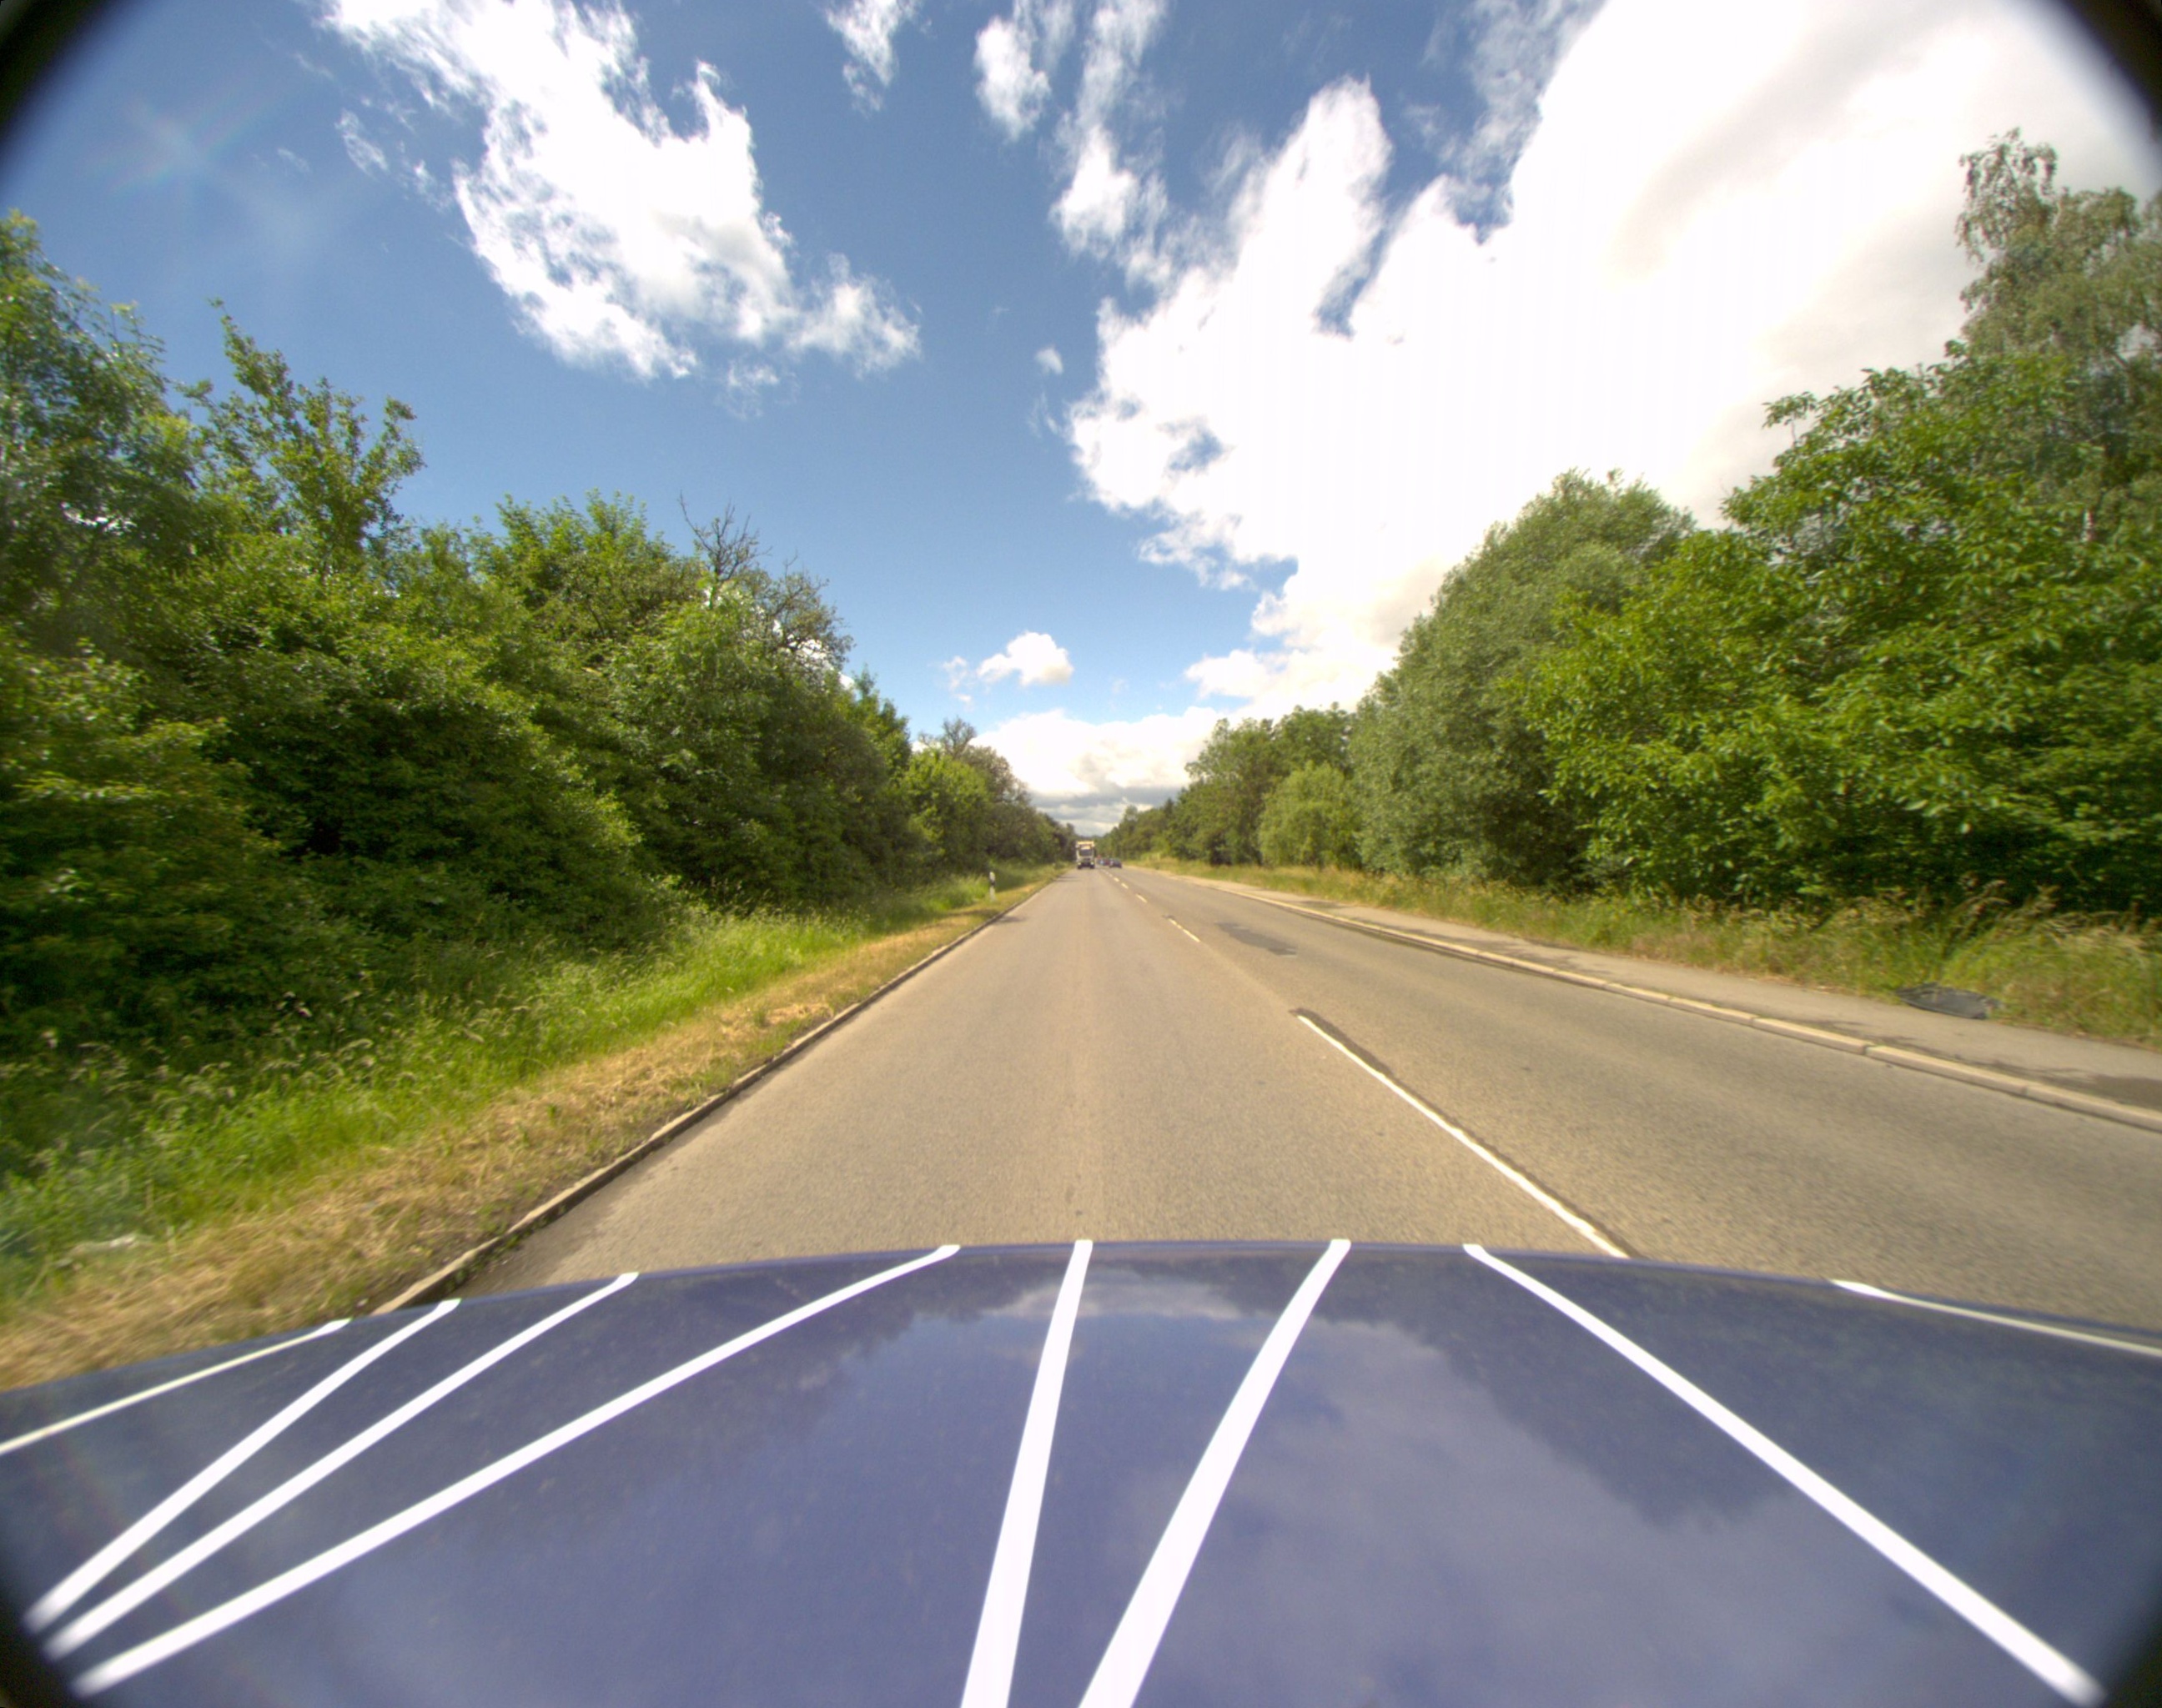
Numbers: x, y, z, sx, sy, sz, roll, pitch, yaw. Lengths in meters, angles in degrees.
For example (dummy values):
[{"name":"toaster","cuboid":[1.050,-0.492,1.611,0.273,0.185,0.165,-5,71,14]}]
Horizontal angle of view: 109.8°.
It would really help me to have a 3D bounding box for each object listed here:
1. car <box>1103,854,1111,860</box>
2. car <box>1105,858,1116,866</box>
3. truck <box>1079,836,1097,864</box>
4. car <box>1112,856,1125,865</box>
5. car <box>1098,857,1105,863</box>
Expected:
[{"name":"car","cuboid":[6.198,0.720,180.961,1.789,1.438,2.966,1,0,-1]},{"name":"car","cuboid":[5.862,1.601,150.338,1.889,1.483,4.717,1,-1,-1]},{"name":"truck","cuboid":[1.017,-0.528,108.212,2.306,3.789,8.183,-3,0,0]},{"name":"car","cuboid":[5.759,1.063,117.085,1.789,1.326,4.622,1,-1,-1]},{"name":"car","cuboid":[5.362,1.571,200.017,1.789,1.438,4.452,1,-1,-1]}]
